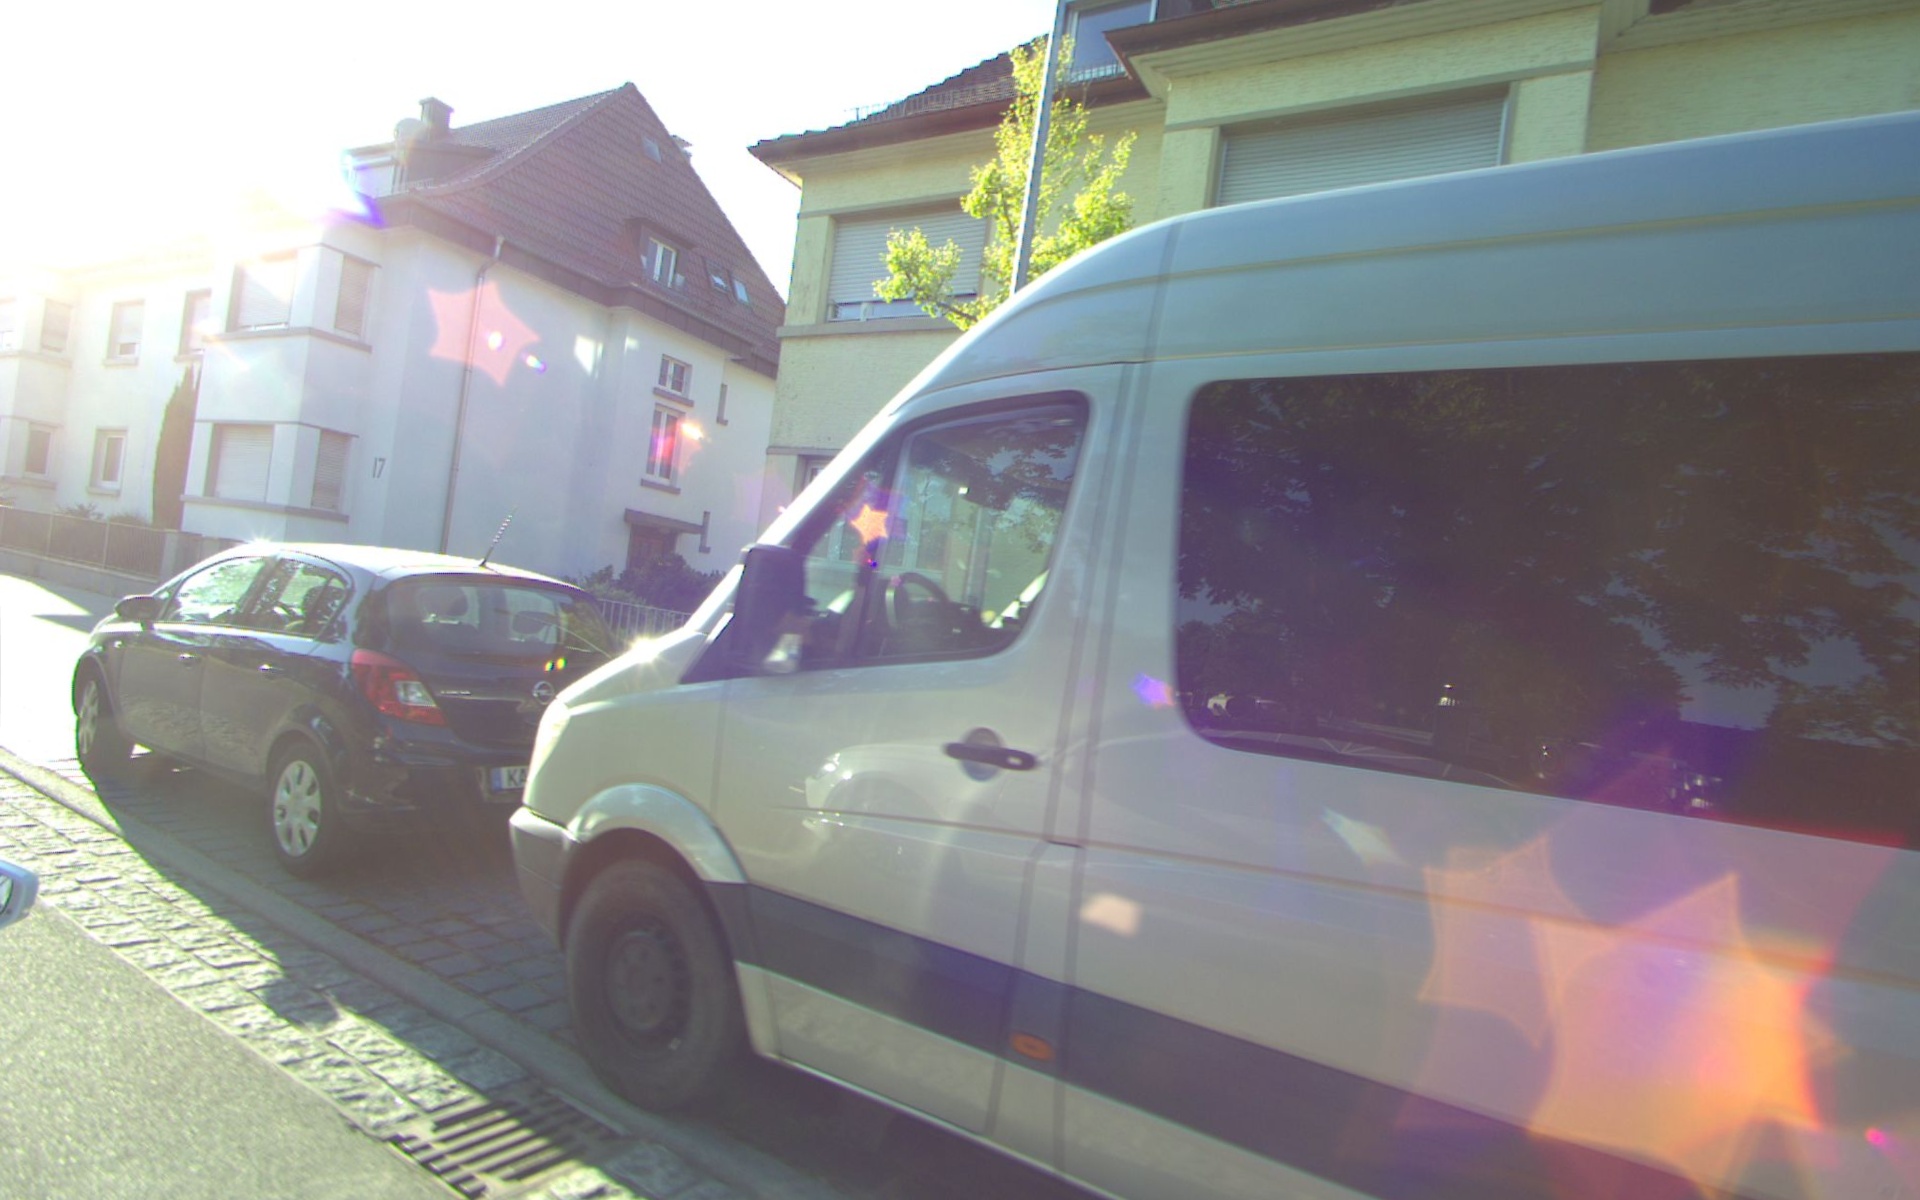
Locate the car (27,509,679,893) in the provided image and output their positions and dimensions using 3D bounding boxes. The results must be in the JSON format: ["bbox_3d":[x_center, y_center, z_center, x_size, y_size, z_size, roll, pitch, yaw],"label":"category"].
[{"bbox_3d":[-3.670,0.362,5.882,3.903,1.429,1.622,6,2,32],"label":"car"}]

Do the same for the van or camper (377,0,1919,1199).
[{"bbox_3d":[1.188,0.405,2.700,5.842,2.808,1.948,6,-3,32],"label":"van or camper"}]
